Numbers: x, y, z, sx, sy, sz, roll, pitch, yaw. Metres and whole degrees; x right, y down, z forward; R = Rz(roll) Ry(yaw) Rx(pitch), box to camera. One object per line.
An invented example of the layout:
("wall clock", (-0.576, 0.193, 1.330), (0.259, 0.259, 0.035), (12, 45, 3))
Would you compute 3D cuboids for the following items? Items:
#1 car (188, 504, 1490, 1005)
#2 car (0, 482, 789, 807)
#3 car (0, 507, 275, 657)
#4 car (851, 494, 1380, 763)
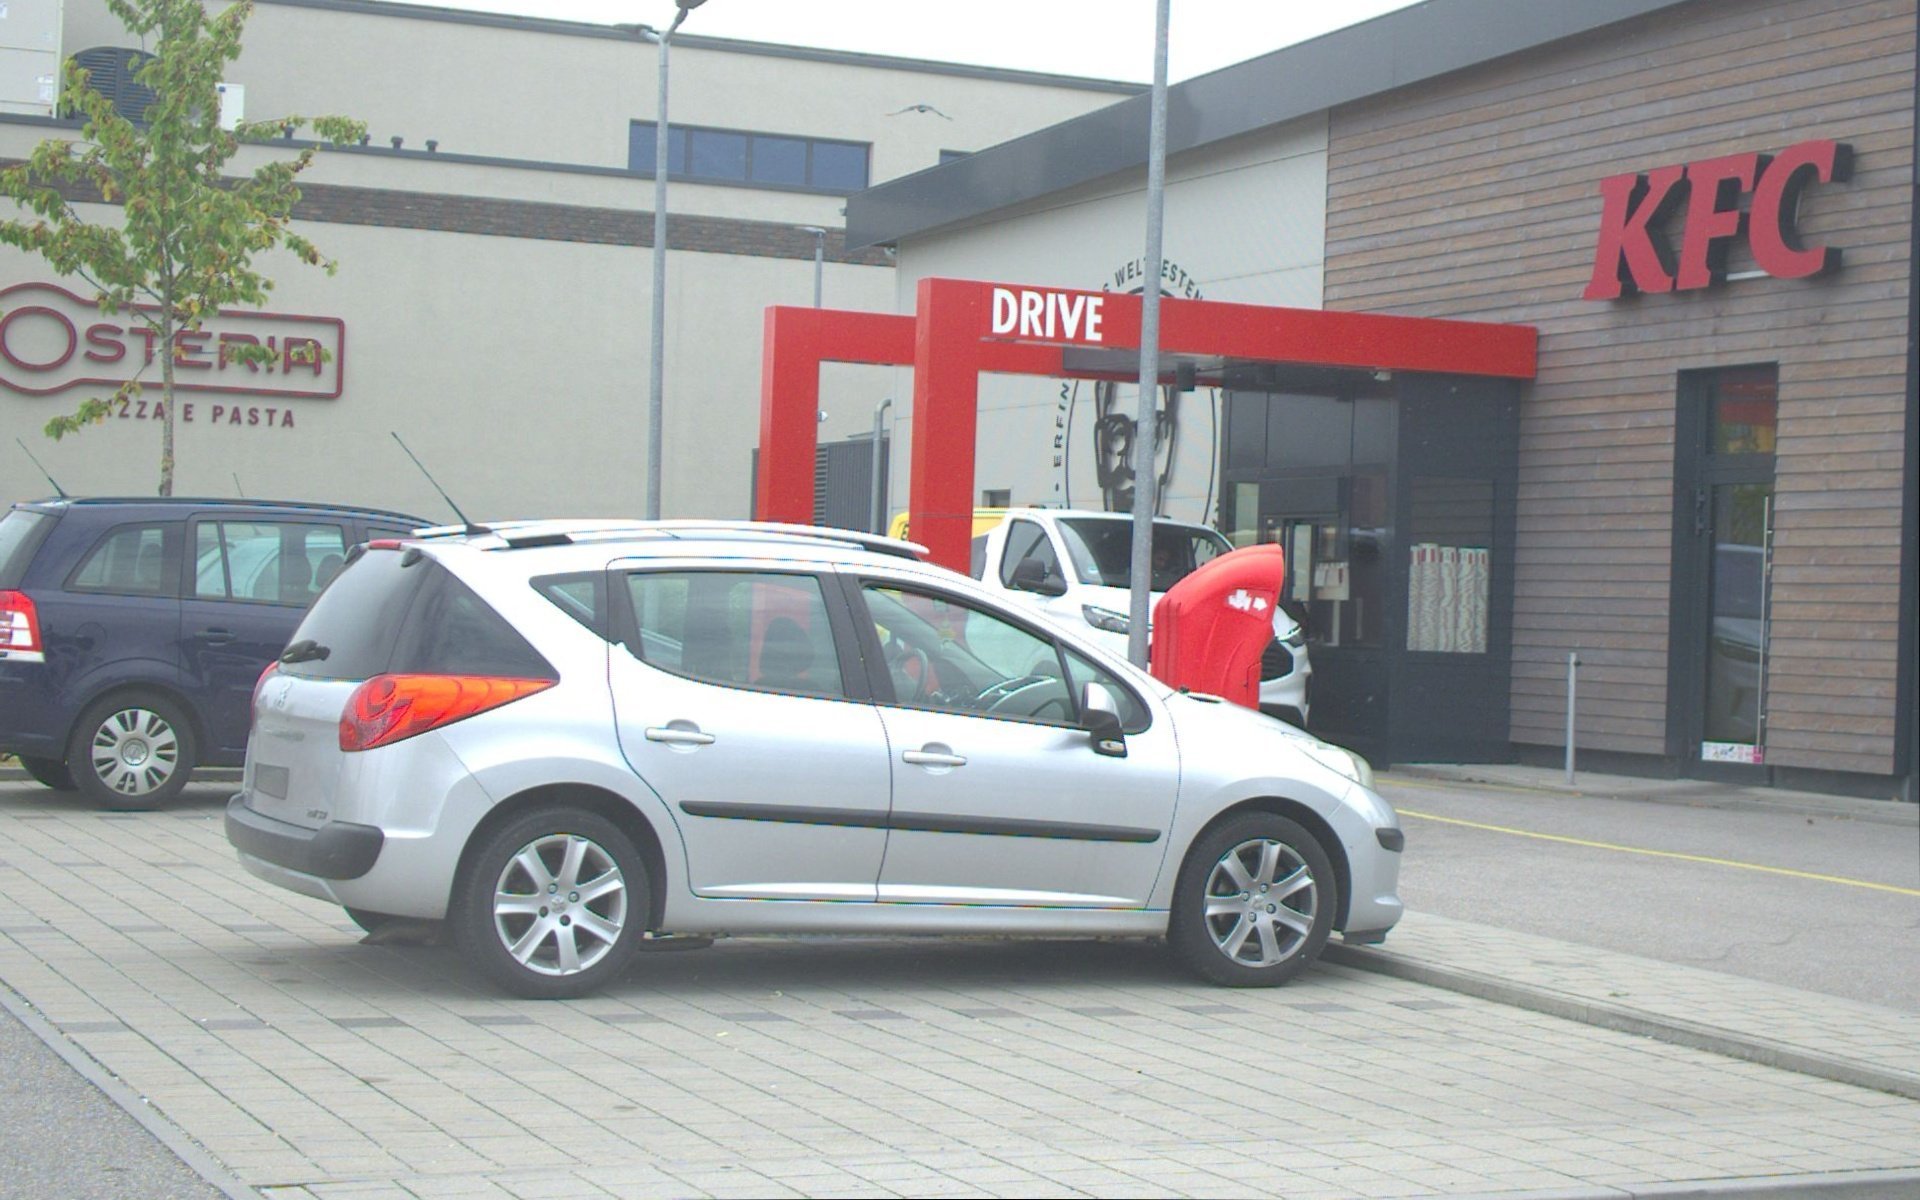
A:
("car", (-0.395, 0.502, 11.899), (4.154, 1.500, 1.629), (2, 0, -25))
("car", (-3.327, 0.255, 18.669), (4.470, 1.611, 1.586), (2, 0, -25))
("car", (-9.520, -0.194, 37.140), (3.830, 1.568, 1.826), (1, 1, -24))
("car", (1.108, 0.190, 27.846), (2.273, 1.925, 5.124), (2, 0, -22))
